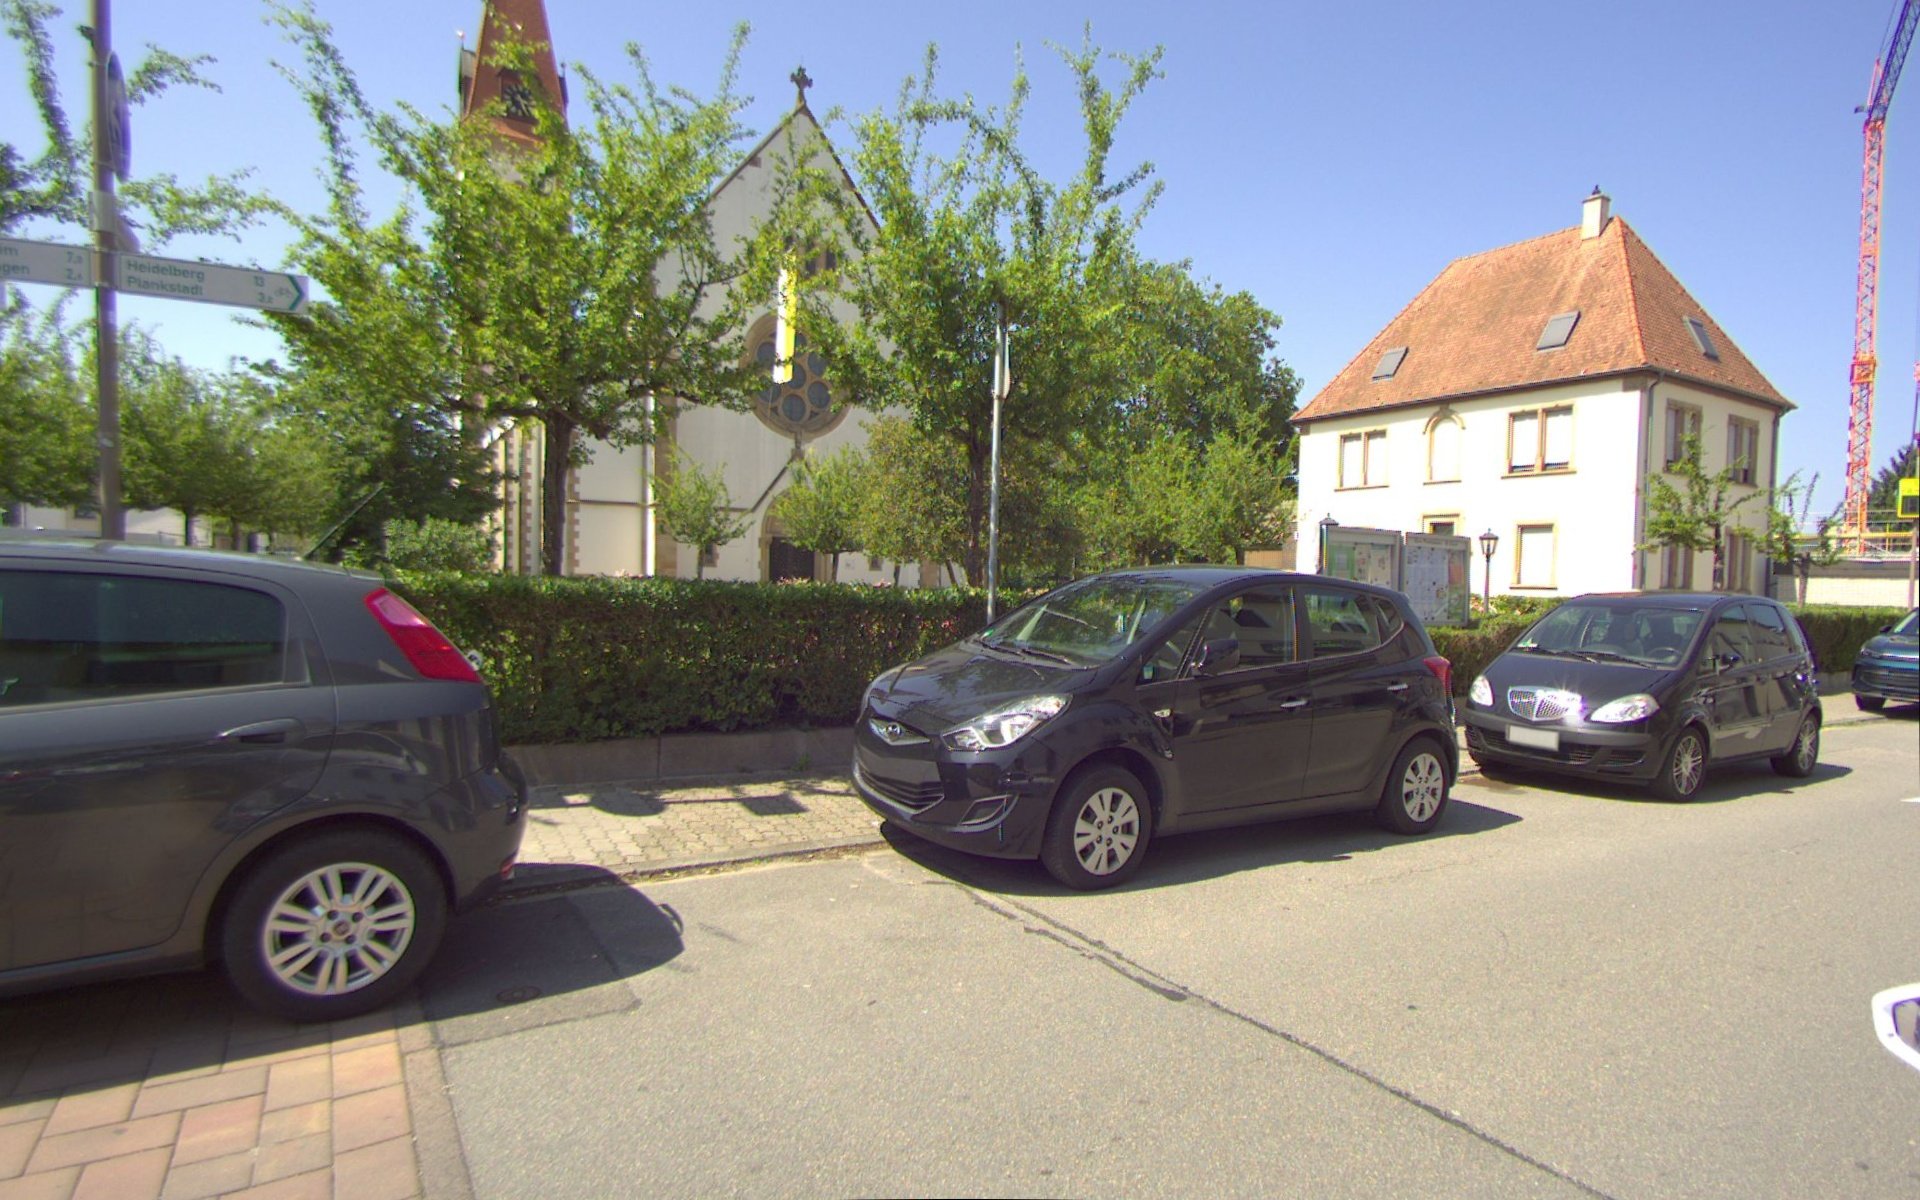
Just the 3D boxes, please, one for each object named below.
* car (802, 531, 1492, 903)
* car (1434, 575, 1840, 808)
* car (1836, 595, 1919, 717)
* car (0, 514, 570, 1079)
[{"bbox_3d":[1.234,0.512,6.193,3.978,1.626,1.806,1,2,-31],"label":"car"},{"bbox_3d":[6.061,0.658,8.899,3.727,1.651,1.628,1,2,-33],"label":"car"},{"bbox_3d":[14.952,0.812,14.946,4.172,1.652,1.815,1,2,-34],"label":"car"},{"bbox_3d":[-3.415,0.496,3.108,3.819,1.517,1.690,1,2,-36],"label":"car"}]
